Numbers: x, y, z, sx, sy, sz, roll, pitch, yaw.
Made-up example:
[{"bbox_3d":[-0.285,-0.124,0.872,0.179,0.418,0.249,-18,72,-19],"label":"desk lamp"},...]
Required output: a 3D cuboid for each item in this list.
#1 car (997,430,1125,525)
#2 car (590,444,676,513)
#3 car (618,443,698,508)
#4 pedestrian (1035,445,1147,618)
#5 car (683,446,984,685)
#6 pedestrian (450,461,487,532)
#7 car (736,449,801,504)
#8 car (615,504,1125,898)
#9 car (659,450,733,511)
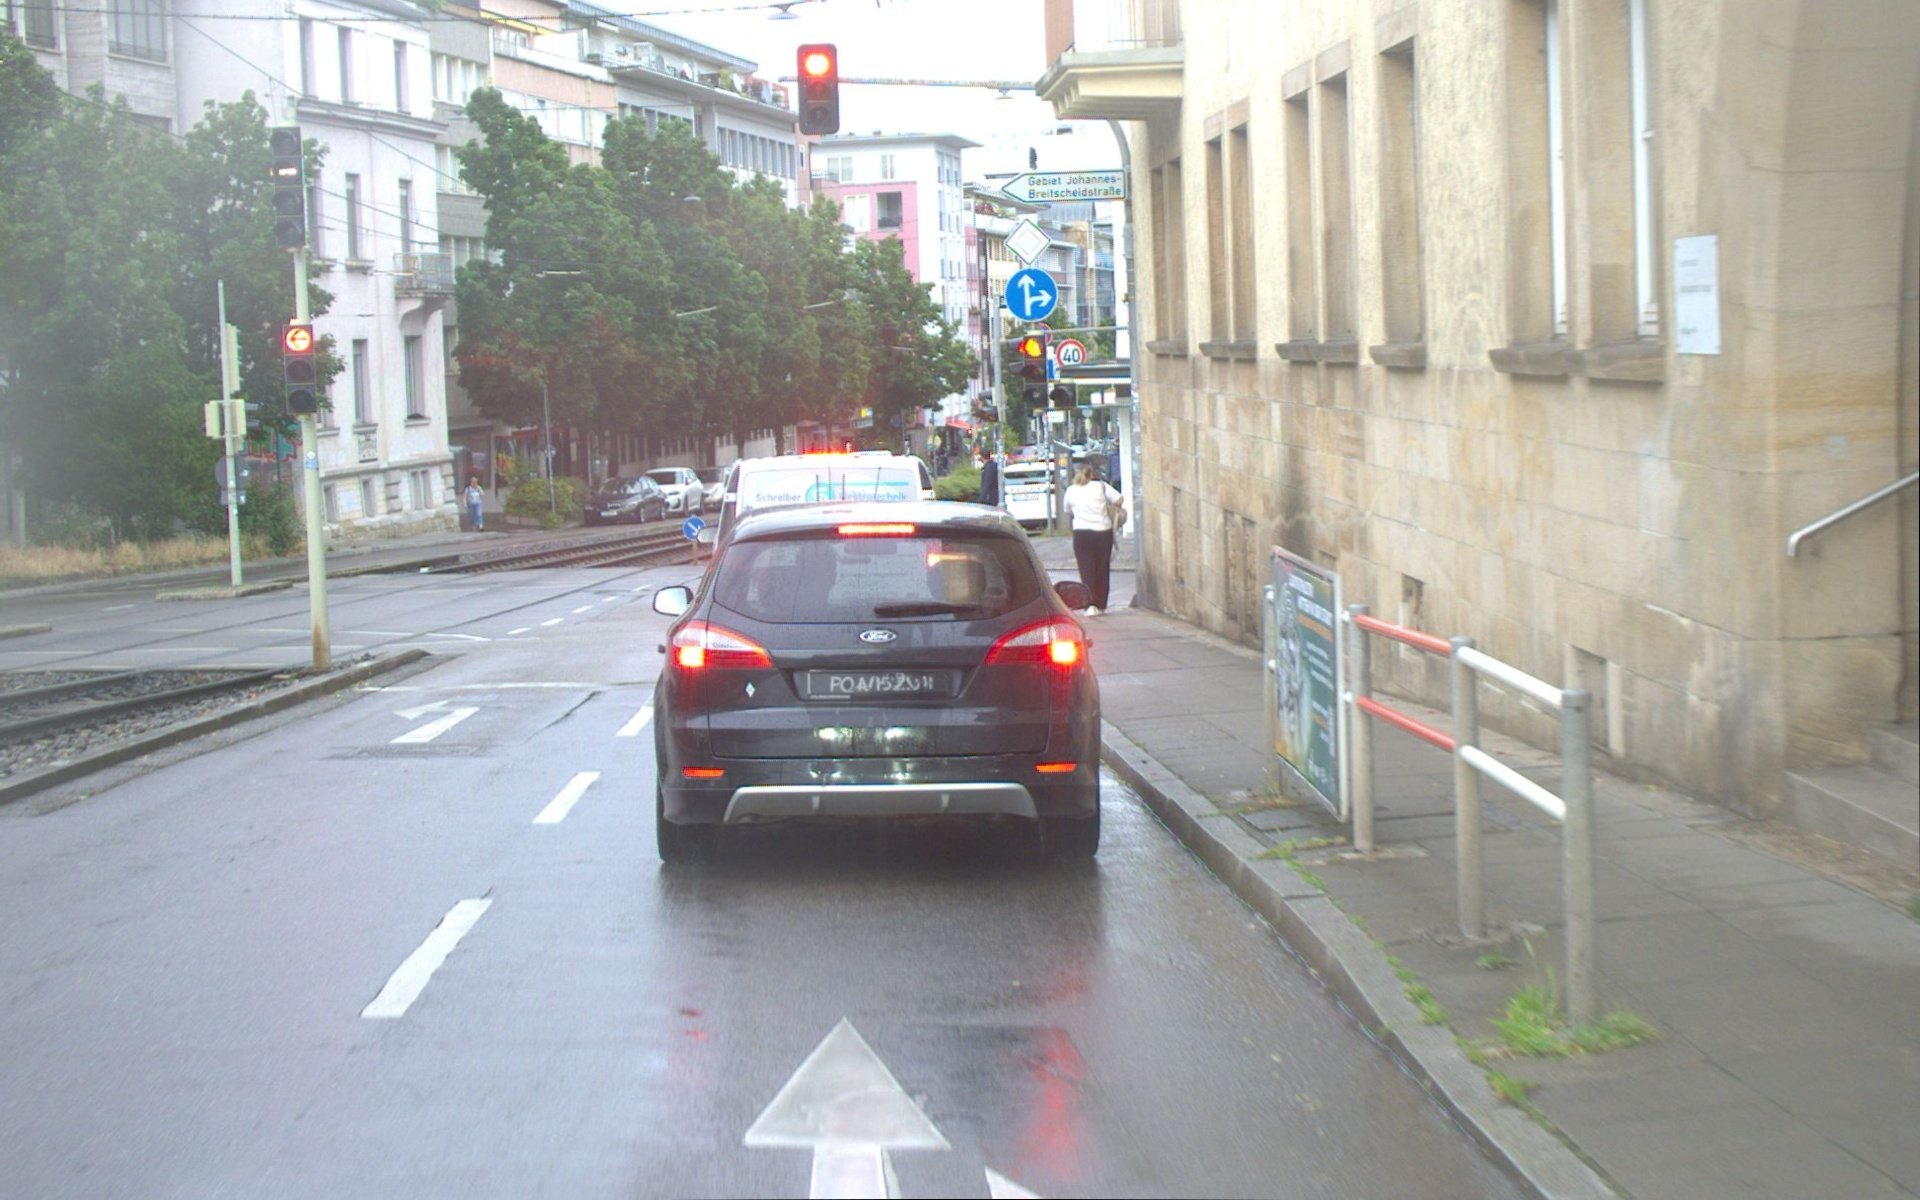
[{"bbox_3d":[2.044,-2.464,68.621,1.994,1.766,3.999,-2,2,9],"label":"car"},{"bbox_3d":[-10.089,-3.774,106.218,1.994,2.006,4.000,-2,2,3],"label":"car"},{"bbox_3d":[-9.862,-4.089,112.513,1.994,2.006,4.000,-2,2,3],"label":"car"},{"bbox_3d":[1.393,-0.737,36.749,1.045,1.788,0.902,-2,2,-3],"label":"pedestrian"},{"bbox_3d":[-1.142,-0.355,28.730,2.136,1.739,4.219,-3,3,-6],"label":"car"},{"bbox_3d":[-14.194,-3.002,99.225,0.941,2.006,0.765,-3,2,-11],"label":"pedestrian"},{"bbox_3d":[-7.236,-4.691,130.281,1.994,2.006,4.000,-2,2,3],"label":"car"},{"bbox_3d":[-0.453,0.330,14.981,1.920,1.474,4.001,0,2,-3],"label":"car"},{"bbox_3d":[-9.105,-4.155,118.867,1.994,2.006,4.000,-2,2,3],"label":"car"}]
